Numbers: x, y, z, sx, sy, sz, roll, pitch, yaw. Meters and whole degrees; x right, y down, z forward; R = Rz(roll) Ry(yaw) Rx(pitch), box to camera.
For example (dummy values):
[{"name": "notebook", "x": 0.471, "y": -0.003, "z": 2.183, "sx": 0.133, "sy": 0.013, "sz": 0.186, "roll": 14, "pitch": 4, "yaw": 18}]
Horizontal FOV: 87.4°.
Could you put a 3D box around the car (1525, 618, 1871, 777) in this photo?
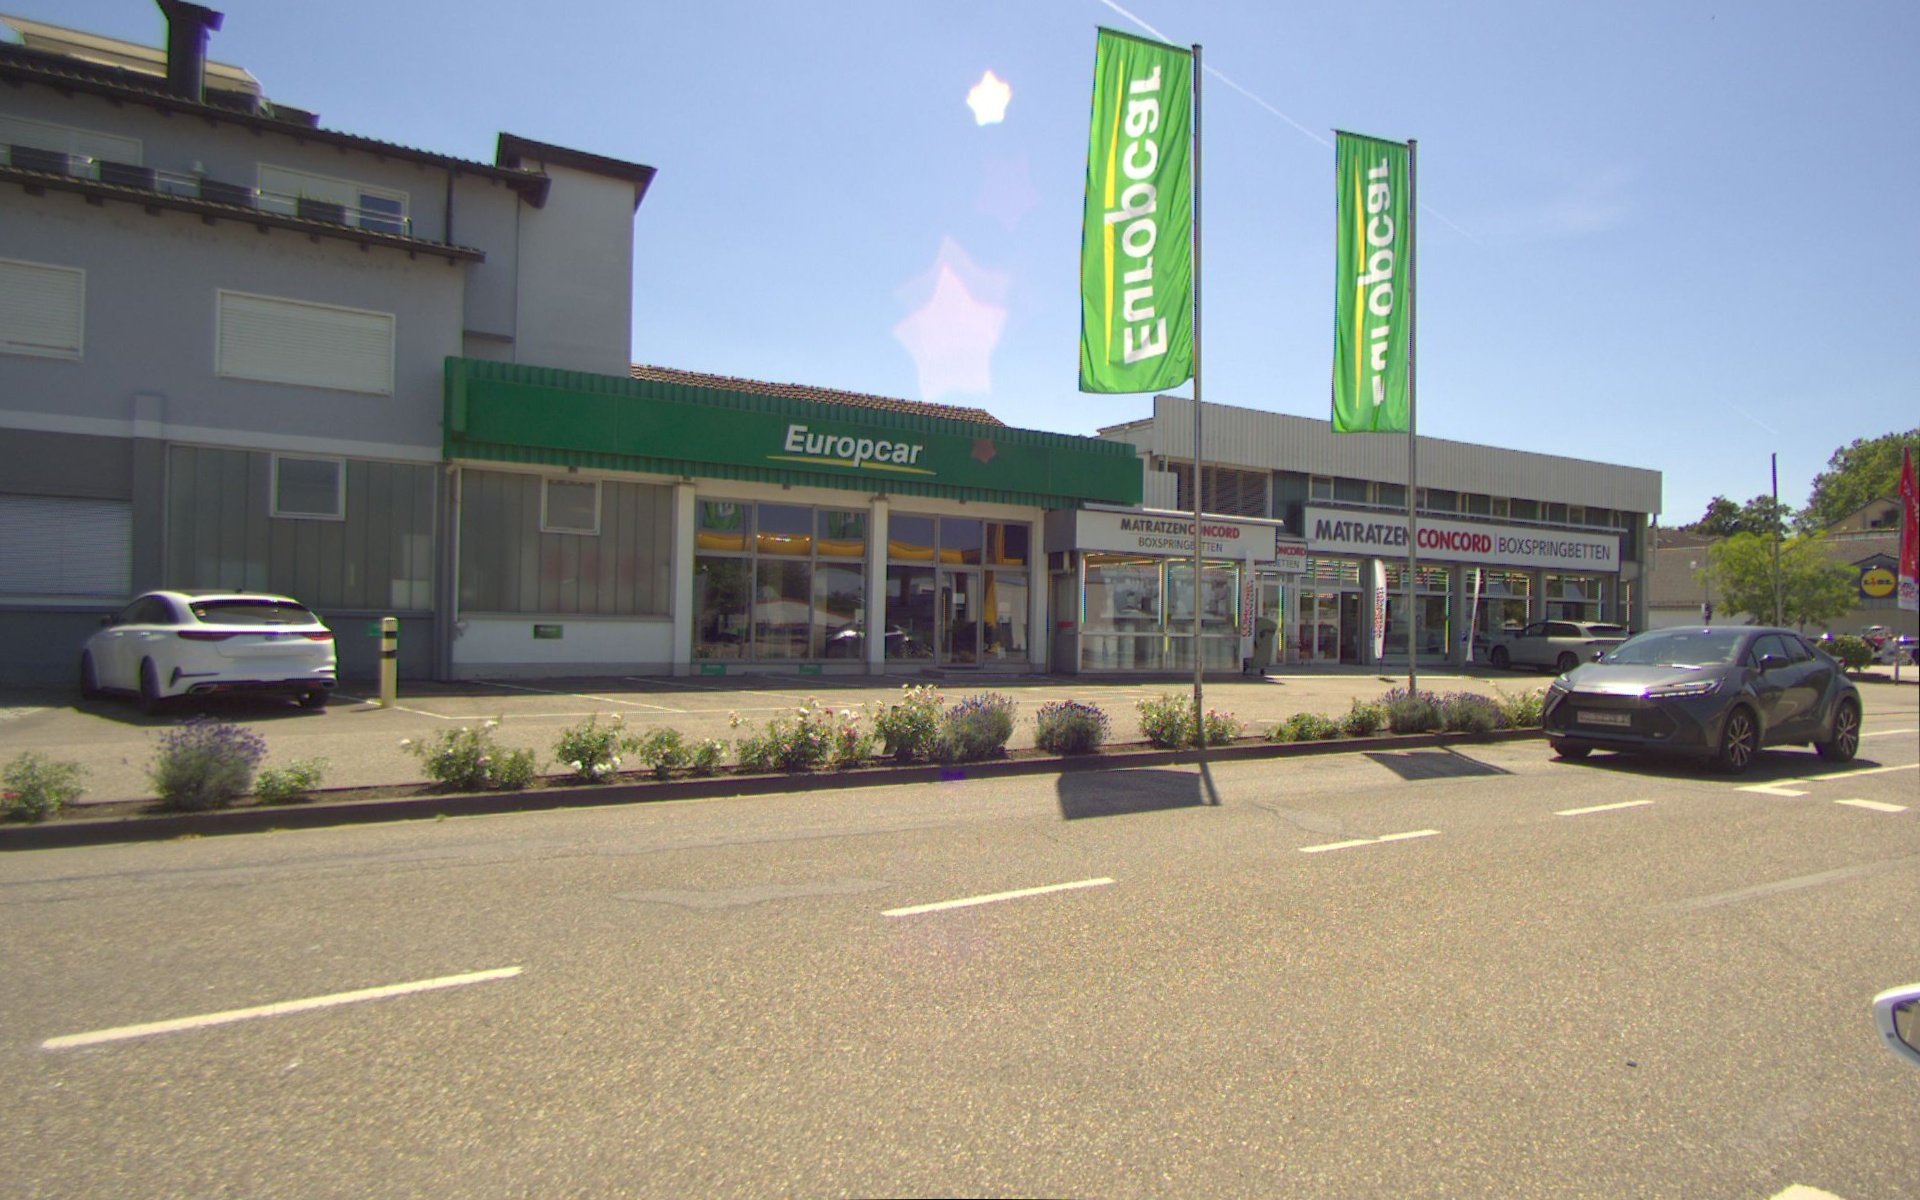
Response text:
[{"name": "car", "x": 8.565, "y": 1.023, "z": 11.597, "sx": 4.089, "sy": 1.547, "sz": 1.754, "roll": 2, "pitch": -2, "yaw": -30}]

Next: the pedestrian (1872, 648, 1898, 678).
[{"name": "pedestrian", "x": 47.744, "y": 3.251, "z": 51.869, "sx": 0.877, "sy": 1.503, "sz": 0.805, "roll": 2, "pitch": 0, "yaw": 39}]

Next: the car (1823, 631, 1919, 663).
[{"name": "car", "x": 50.707, "y": 2.597, "z": 55.452, "sx": 1.806, "sy": 1.550, "sz": 4.292, "roll": 3, "pitch": 0, "yaw": -29}]

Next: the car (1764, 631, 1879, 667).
[{"name": "car", "x": 46.479, "y": 2.629, "z": 54.282, "sx": 2.089, "sy": 1.677, "sz": 4.292, "roll": 3, "pitch": 0, "yaw": -29}]

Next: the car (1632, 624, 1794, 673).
[{"name": "car", "x": 25.760, "y": 1.624, "z": 34.571, "sx": 1.946, "sy": 1.466, "sz": 4.186, "roll": 1, "pitch": 0, "yaw": -14}]

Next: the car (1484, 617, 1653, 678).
[{"name": "car", "x": 18.800, "y": 1.416, "z": 31.301, "sx": 1.965, "sy": 1.686, "sz": 4.536, "roll": 1, "pitch": 0, "yaw": -11}]

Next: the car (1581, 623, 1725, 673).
[{"name": "car", "x": 23.110, "y": 1.567, "z": 33.655, "sx": 1.965, "sy": 1.494, "sz": 3.630, "roll": 1, "pitch": 0, "yaw": -11}]

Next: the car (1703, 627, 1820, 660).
[{"name": "car", "x": 39.815, "y": 2.151, "z": 49.992, "sx": 1.751, "sy": 1.387, "sz": 4.209, "roll": 3, "pitch": -1, "yaw": -34}]

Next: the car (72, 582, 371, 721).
[{"name": "car", "x": -9.408, "y": 0.547, "z": 12.693, "sx": 4.286, "sy": 1.458, "sz": 1.932, "roll": 1, "pitch": -1, "yaw": 38}]
